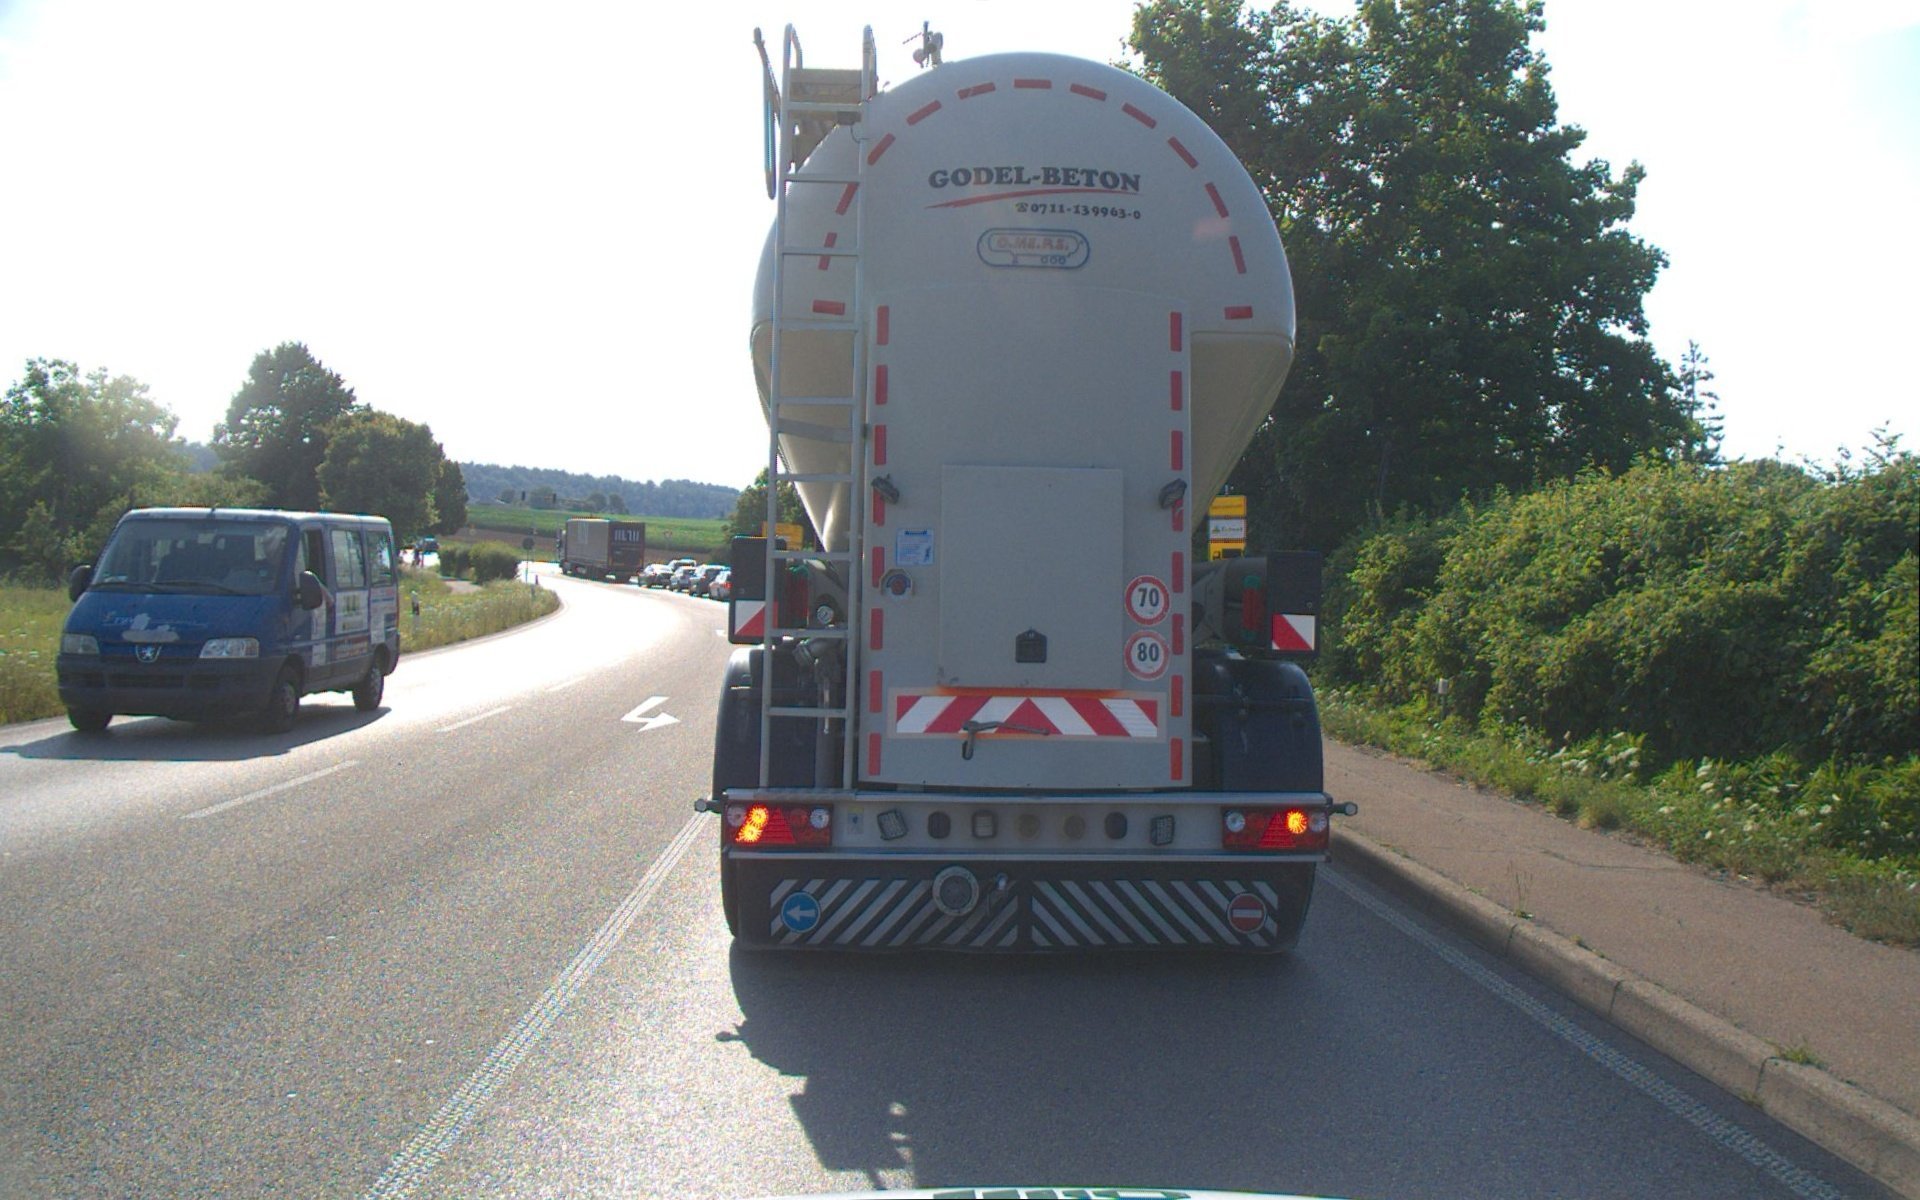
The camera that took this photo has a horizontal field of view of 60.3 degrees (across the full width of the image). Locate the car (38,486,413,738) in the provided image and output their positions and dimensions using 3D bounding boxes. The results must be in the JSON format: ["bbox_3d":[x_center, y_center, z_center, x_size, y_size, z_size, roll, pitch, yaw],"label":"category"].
[{"bbox_3d":[-7.236,0.096,16.927,1.959,2.174,4.775,1,0,-4],"label":"car"}]

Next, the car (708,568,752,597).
[{"bbox_3d":[-11.393,-0.889,81.809,1.556,1.364,3.408,2,1,-18],"label":"car"}]

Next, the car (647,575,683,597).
[{"bbox_3d":[-18.274,-0.889,102.290,1.742,1.227,3.408,2,1,-18],"label":"car"}]

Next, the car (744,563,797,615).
[{"bbox_3d":[-7.790,-0.468,67.631,1.829,2.049,3.709,1,1,-11],"label":"car"}]

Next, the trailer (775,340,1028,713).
[{"bbox_3d":[-0.790,-0.953,27.072,2.895,4.390,14.173,2,1,-1],"label":"trailer"}]

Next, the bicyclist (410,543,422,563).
[{"bbox_3d":[-40.010,-3.443,121.608,0.623,1.444,0.689,3,0,-9],"label":"bicyclist"}]

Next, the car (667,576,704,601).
[{"bbox_3d":[-15.939,-0.689,95.977,1.556,1.364,3.408,2,1,-18],"label":"car"}]

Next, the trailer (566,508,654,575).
[{"bbox_3d":[-25.509,-4.164,119.677,3.331,4.426,14.189,2,1,-24],"label":"trailer"}]

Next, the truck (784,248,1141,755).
[{"bbox_3d":[-0.092,-0.803,15.501,2.852,4.076,4.057,1,0,-4],"label":"truck"}]

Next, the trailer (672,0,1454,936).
[{"bbox_3d":[0.149,-0.841,11.056,2.851,4.076,9.924,1,0,-3],"label":"trailer"}]

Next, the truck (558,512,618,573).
[{"bbox_3d":[-28.496,-4.369,126.593,3.331,4.426,5.664,2,0,-24],"label":"truck"}]

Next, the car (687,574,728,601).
[{"bbox_3d":[-13.427,-0.674,87.904,1.556,1.364,3.408,2,1,-18],"label":"car"}]

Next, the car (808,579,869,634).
[{"bbox_3d":[-3.310,0.146,45.025,1.549,1.364,3.423,2,0,-4],"label":"car"}]

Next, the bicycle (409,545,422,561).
[{"bbox_3d":[-40.012,-3.444,121.601,0.623,1.093,1.667,3,0,-9],"label":"bicycle"}]
